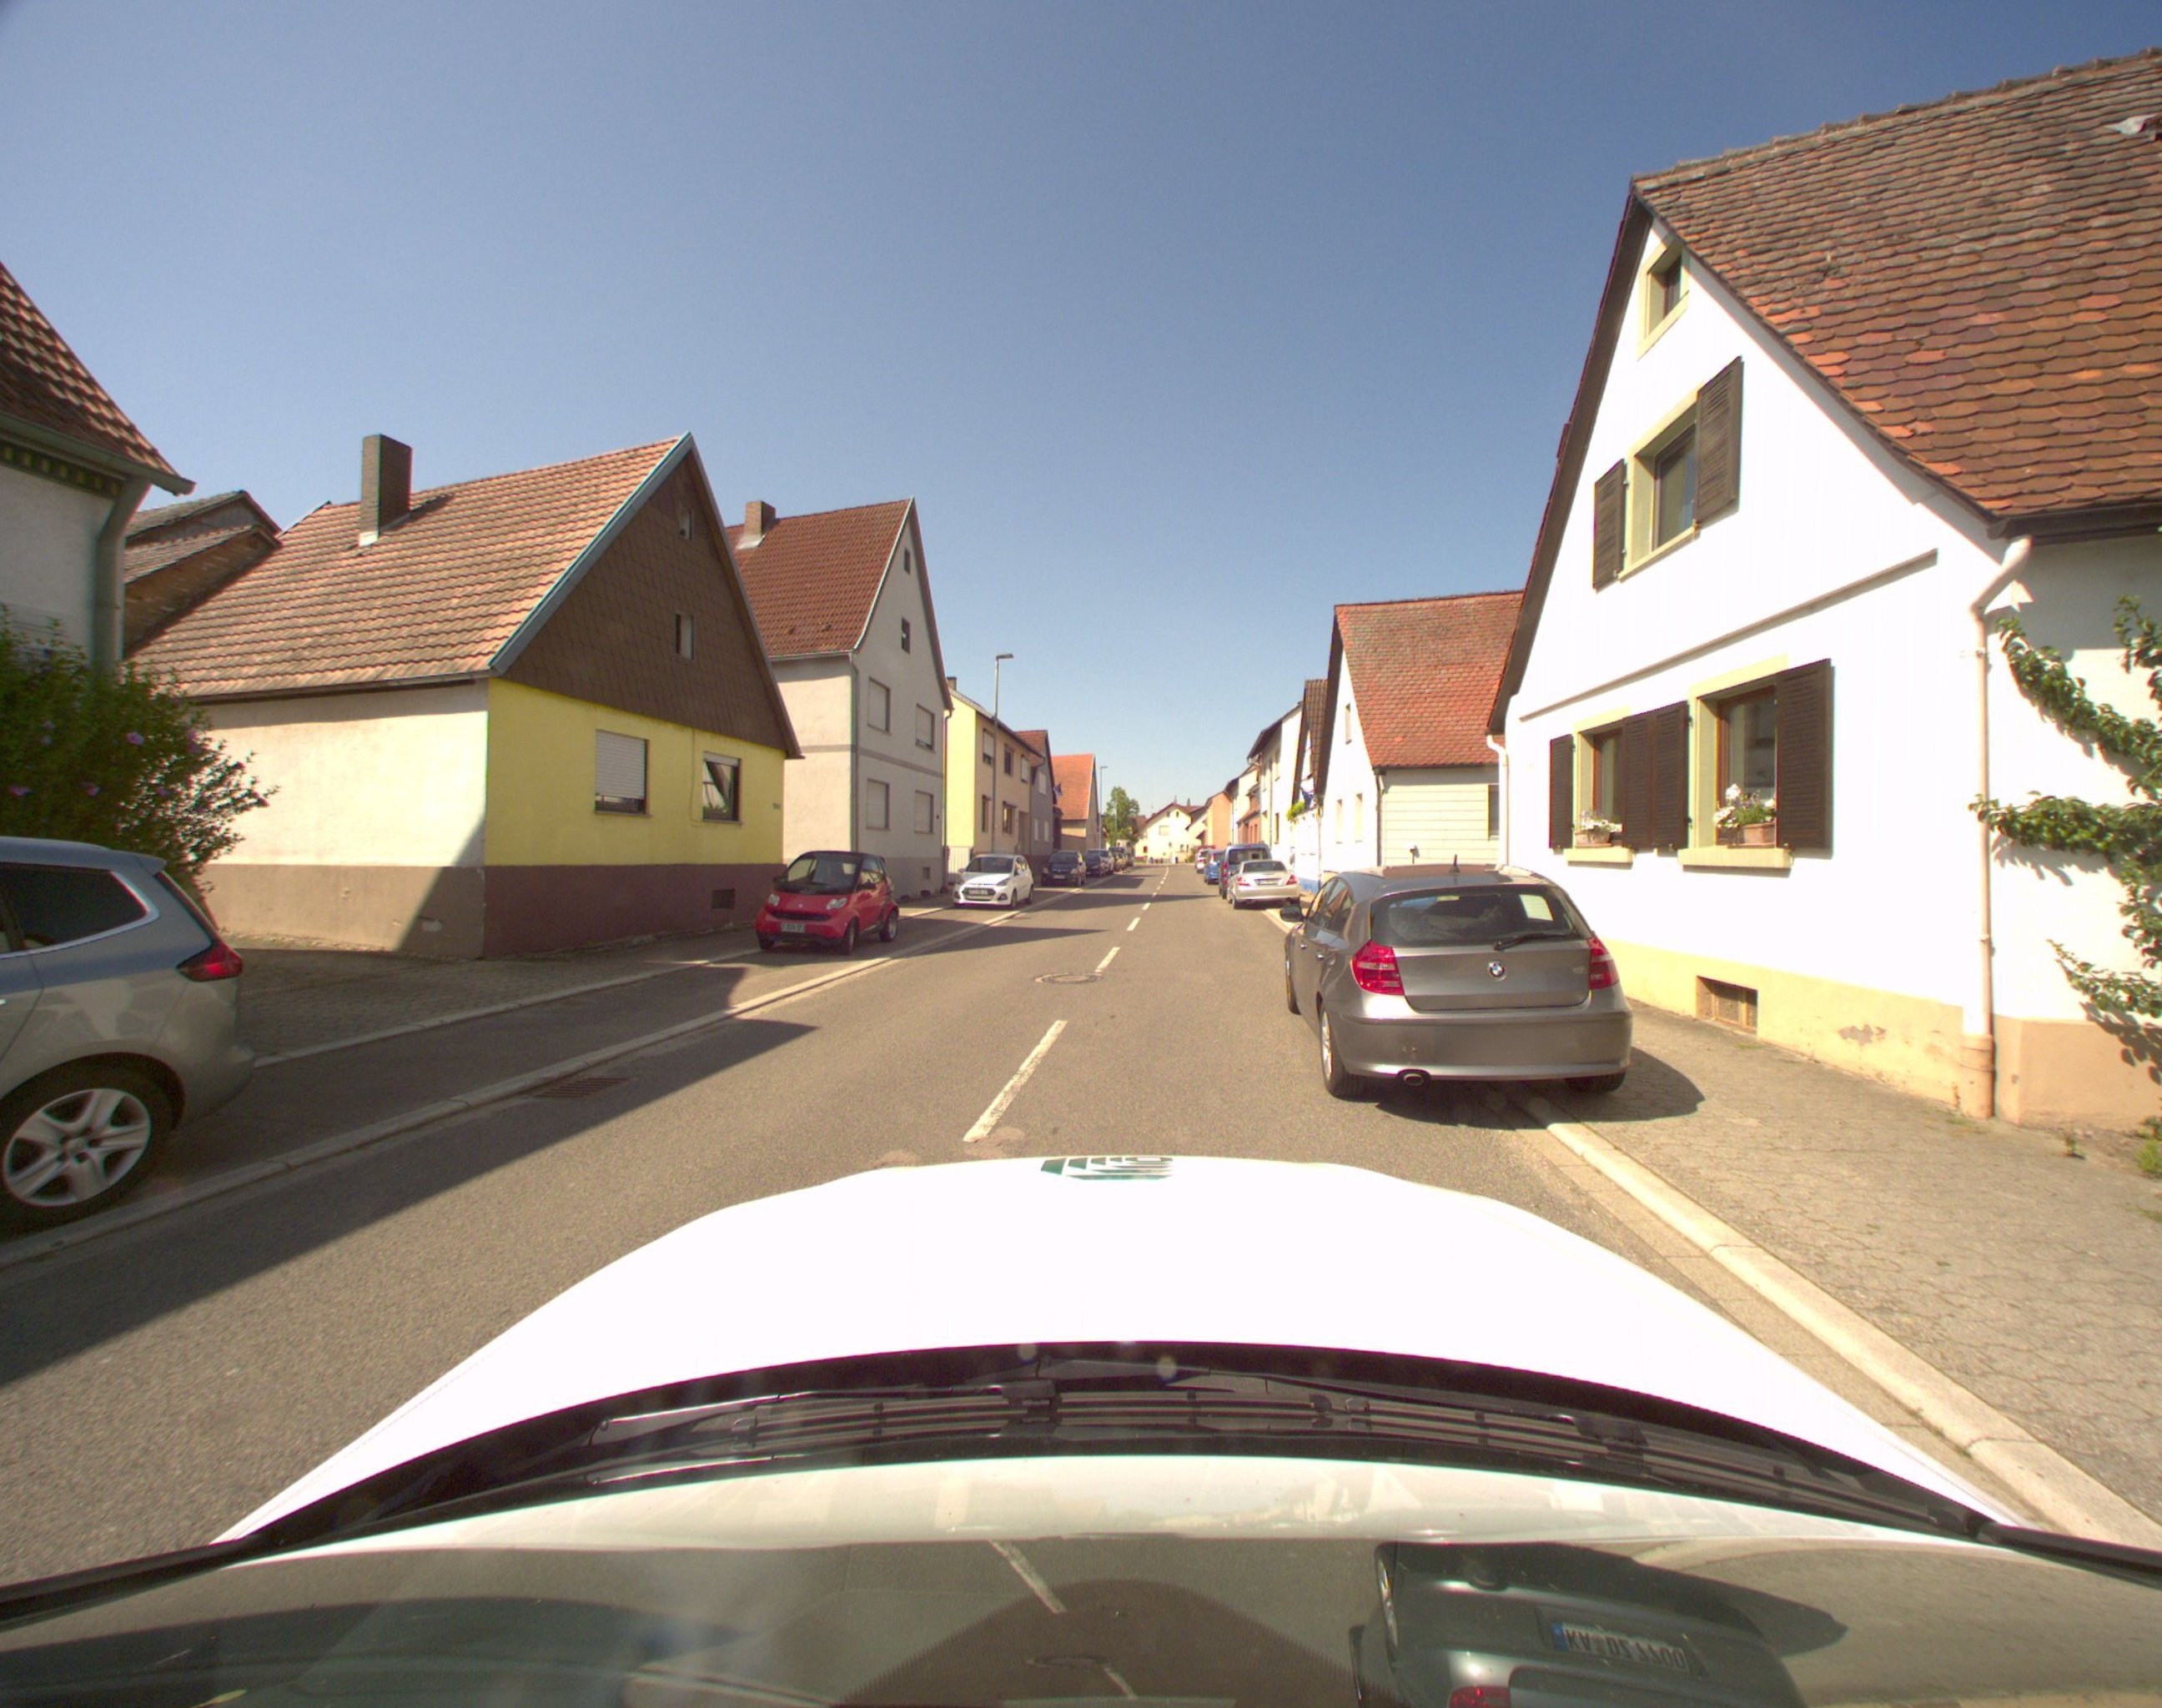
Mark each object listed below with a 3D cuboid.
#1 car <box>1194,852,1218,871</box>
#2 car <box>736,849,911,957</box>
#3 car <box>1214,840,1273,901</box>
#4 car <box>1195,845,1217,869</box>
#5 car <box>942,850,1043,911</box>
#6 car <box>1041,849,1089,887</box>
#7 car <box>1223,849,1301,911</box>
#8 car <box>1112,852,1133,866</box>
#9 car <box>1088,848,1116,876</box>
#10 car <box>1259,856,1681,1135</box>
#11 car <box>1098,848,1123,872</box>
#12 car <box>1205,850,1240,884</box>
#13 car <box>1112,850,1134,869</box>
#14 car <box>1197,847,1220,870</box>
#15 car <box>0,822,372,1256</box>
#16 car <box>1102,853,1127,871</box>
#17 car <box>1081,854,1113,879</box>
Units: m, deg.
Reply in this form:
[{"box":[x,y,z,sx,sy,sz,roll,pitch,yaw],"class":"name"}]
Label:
[{"box":[9.765,0.600,63.810,1.757,1.433,3.457,0,-1,8],"class":"car"},{"box":[-4.082,0.716,13.374,1.544,1.544,2.994,1,0,8],"class":"car"},{"box":[5.477,0.532,27.755,1.641,1.910,3.632,1,0,6],"class":"car"},{"box":[10.593,0.286,69.264,1.757,2.004,3.457,0,-1,8],"class":"car"},{"box":[-2.422,0.699,23.433,1.796,1.548,4.414,1,0,8],"class":"car"},{"box":[-0.672,0.608,36.814,1.611,1.577,3.969,1,0,6],"class":"car"},{"box":[4.970,0.680,22.709,1.696,1.496,3.458,-3,-1,6],"class":"car"},{"box":[4.288,0.516,82.917,1.744,1.442,4.009,0,-1,8],"class":"car"},{"box":[1.391,0.483,52.900,1.519,1.713,3.632,1,0,6],"class":"car"},{"box":[2.437,0.761,6.208,1.696,1.433,3.896,-2,0,6],"class":"car"},{"box":[2.151,0.423,58.904,1.519,1.713,3.632,1,0,6],"class":"car"},{"box":[6.673,0.592,38.693,1.413,1.515,3.310,1,0,6],"class":"car"},{"box":[3.837,0.495,73.594,1.745,1.624,4.007,0,-1,7],"class":"car"},{"box":[8.780,0.317,56.169,1.413,1.515,3.310,1,0,6],"class":"car"},{"box":[-5.161,0.673,2.218,1.861,1.636,4.677,1,0,10],"class":"car"},{"box":[2.778,0.667,66.087,1.745,1.442,4.007,0,-1,6],"class":"car"},{"box":[0.979,0.725,48.397,1.496,1.453,3.516,0,-1,7],"class":"car"}]
